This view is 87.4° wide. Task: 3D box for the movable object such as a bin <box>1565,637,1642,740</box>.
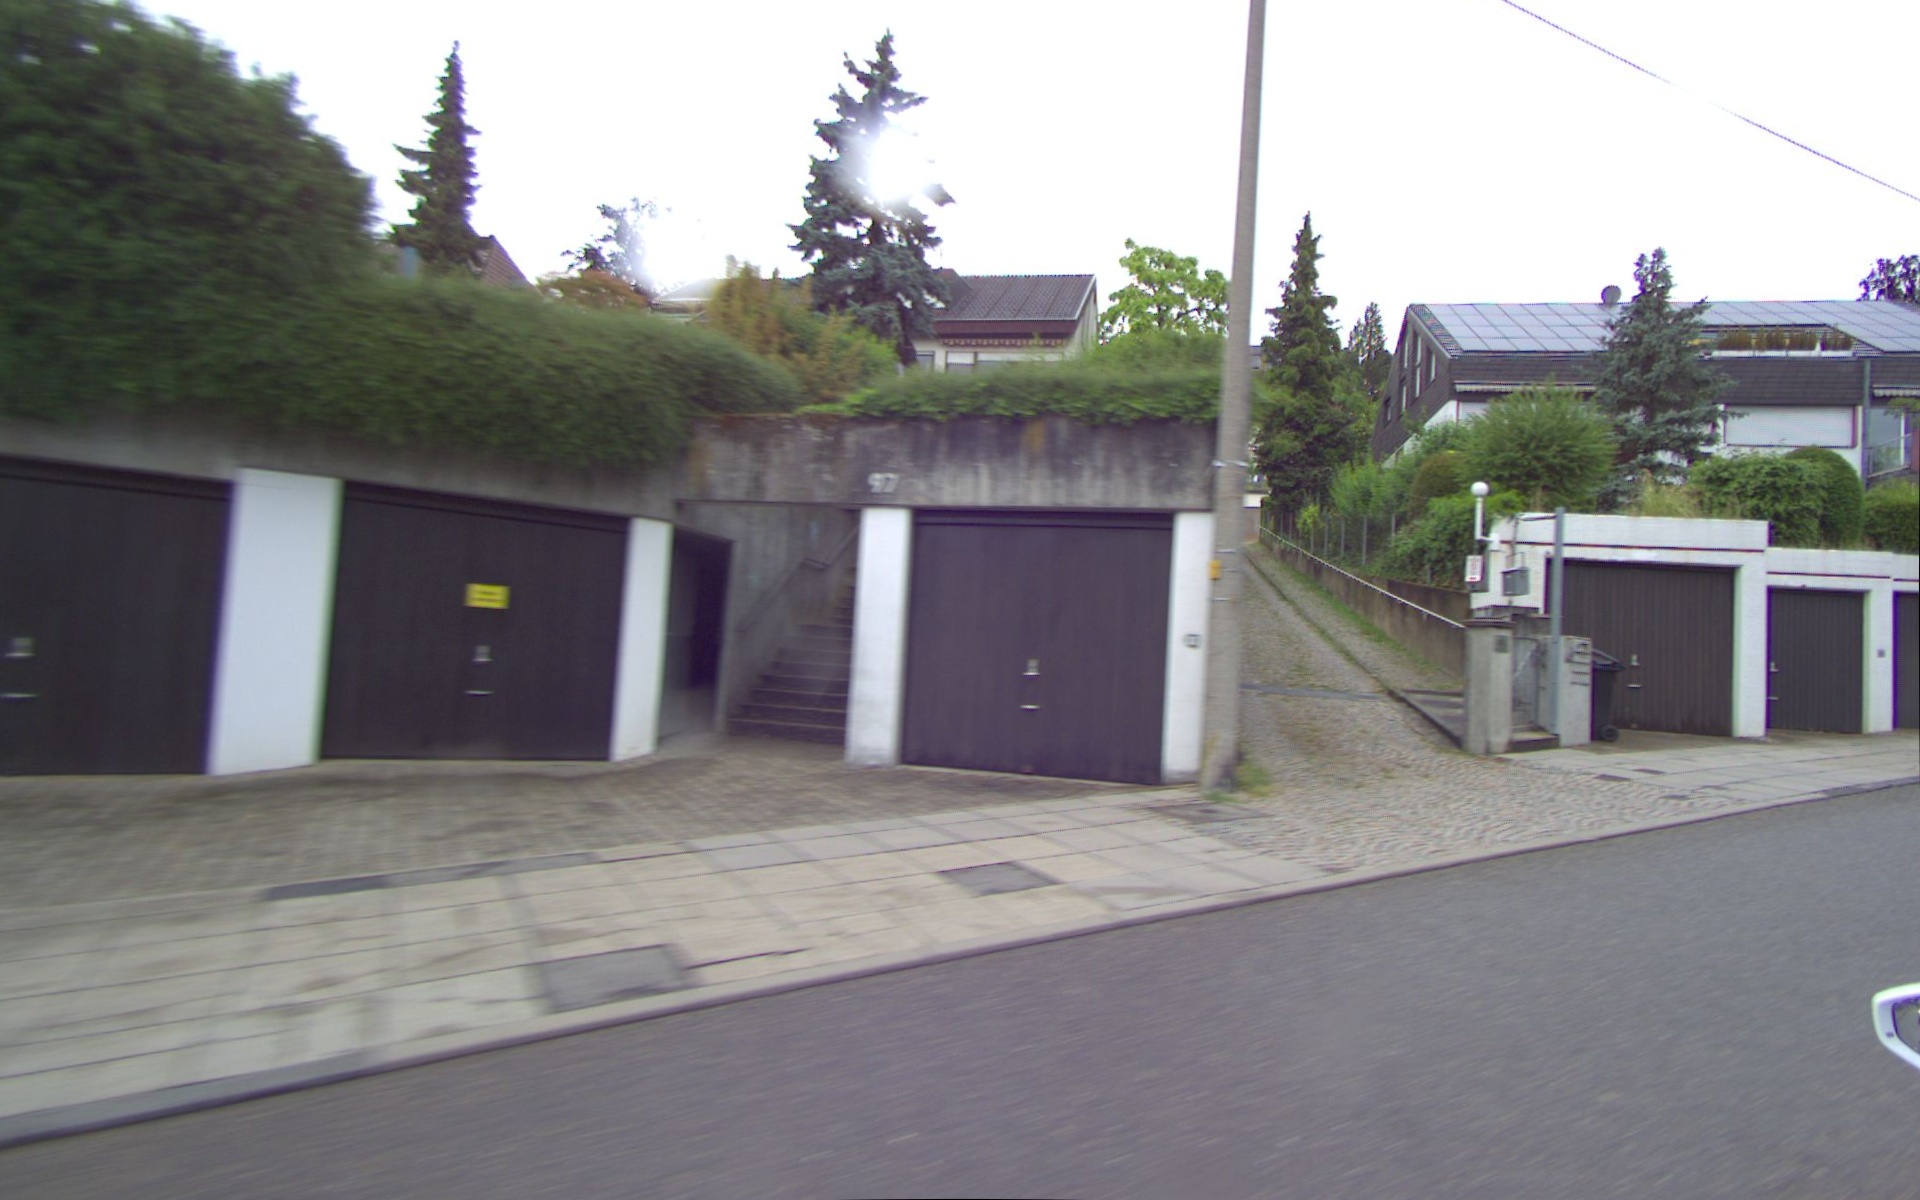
[{"bbox_3d":[7.690,1.045,12.020,0.589,1.161,0.529,3,0,14],"label":"movable object such as a bin"}]
